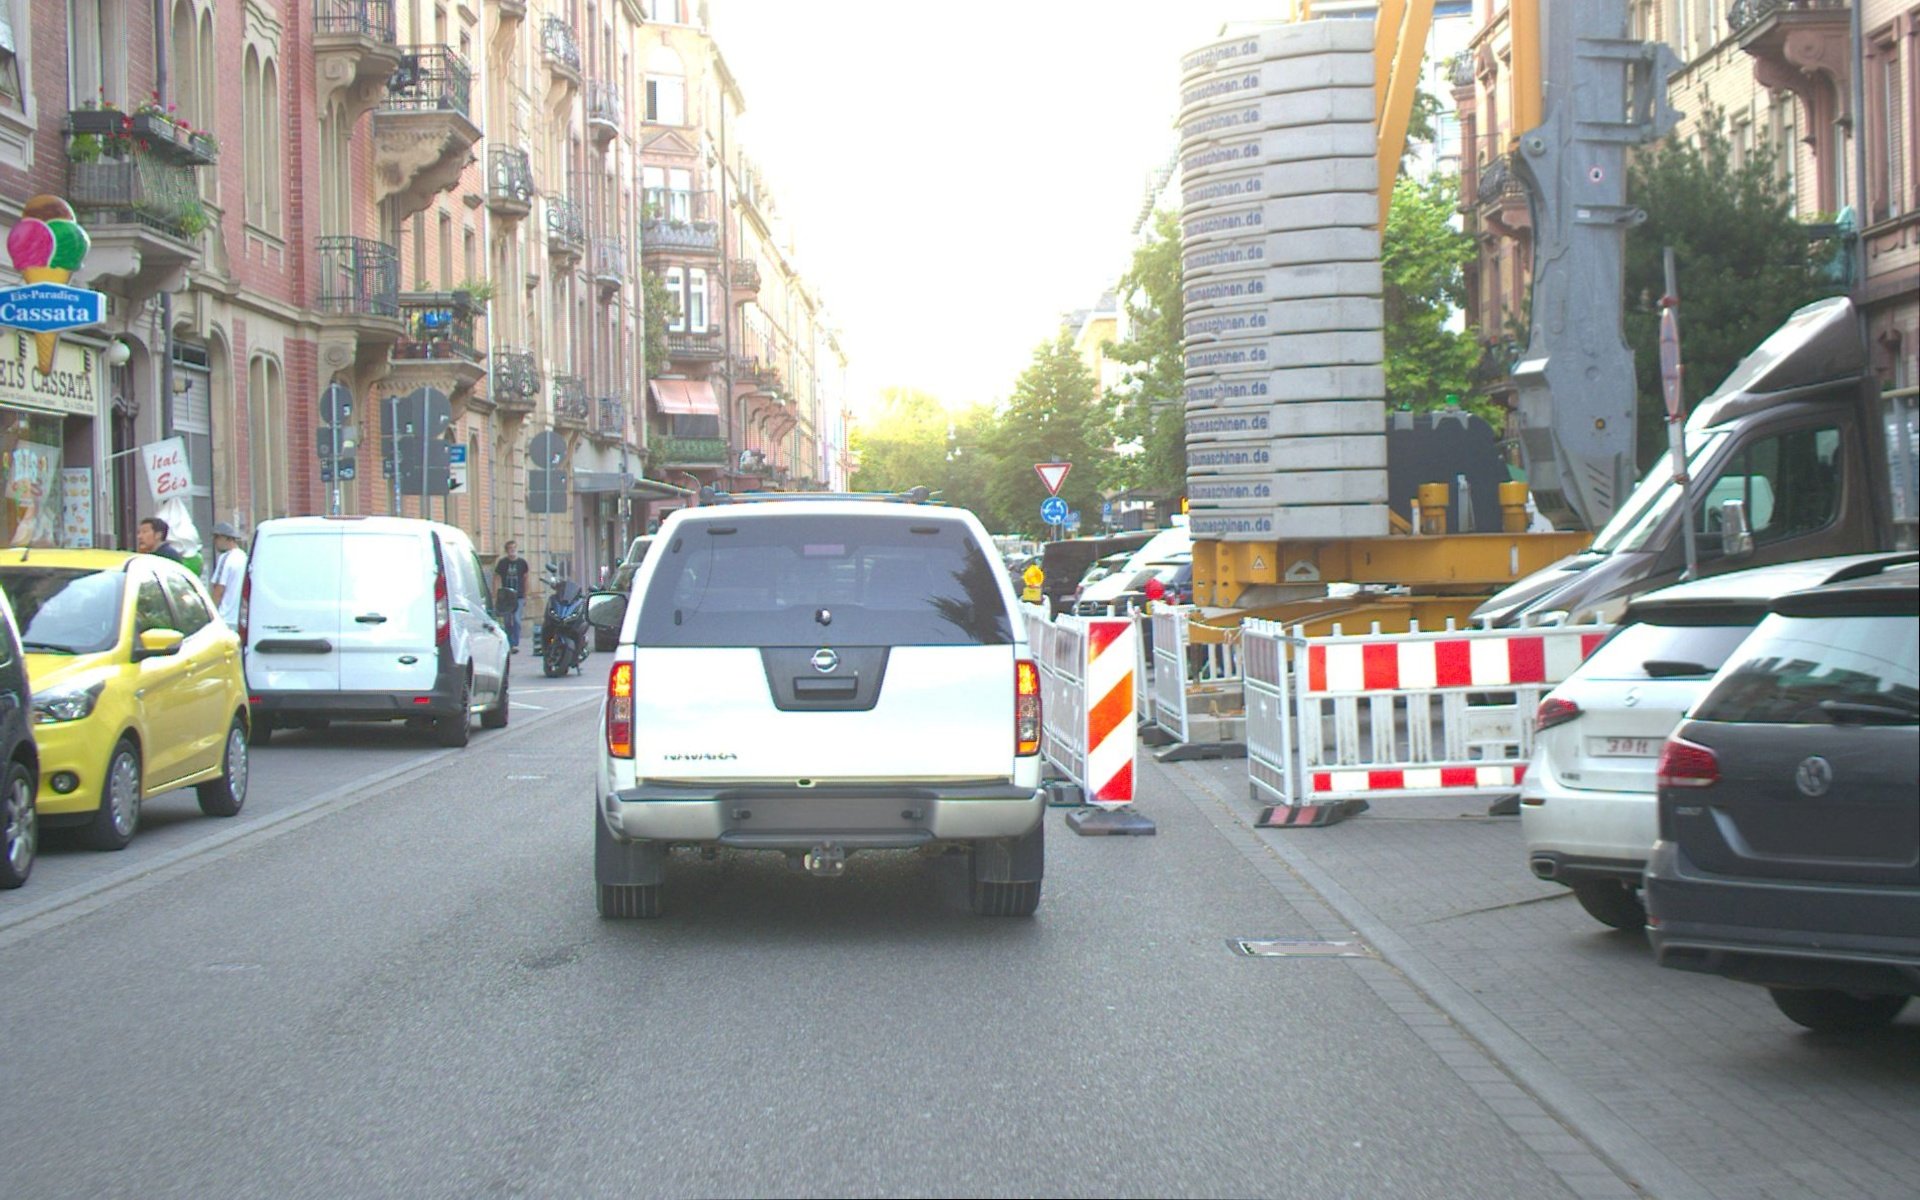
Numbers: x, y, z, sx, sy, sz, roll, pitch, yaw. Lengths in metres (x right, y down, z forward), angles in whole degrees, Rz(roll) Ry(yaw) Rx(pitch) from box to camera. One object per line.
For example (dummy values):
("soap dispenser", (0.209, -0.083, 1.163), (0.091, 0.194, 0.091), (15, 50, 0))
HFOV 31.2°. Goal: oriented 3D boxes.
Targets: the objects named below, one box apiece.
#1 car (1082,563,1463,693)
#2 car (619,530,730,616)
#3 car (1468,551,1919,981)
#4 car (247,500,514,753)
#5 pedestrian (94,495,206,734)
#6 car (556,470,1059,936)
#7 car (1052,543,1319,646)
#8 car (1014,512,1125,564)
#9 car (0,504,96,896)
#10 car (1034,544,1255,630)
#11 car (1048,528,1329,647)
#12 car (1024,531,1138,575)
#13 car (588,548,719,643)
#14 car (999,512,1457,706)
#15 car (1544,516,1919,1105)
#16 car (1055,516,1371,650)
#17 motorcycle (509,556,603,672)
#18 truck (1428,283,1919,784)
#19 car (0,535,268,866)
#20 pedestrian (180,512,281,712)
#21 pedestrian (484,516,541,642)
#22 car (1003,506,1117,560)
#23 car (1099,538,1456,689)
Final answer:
("car", (3.539, 0.299, 38.995), (4.196, 1.425, 1.819), (0, 1, 6))
("car", (-5.195, -0.508, 62.933), (1.710, 1.525, 4.000), (0, 1, 0))
("car", (3.872, 0.542, 13.319), (3.548, 1.459, 1.611), (-1, 1, -31))
("car", (-4.683, 0.174, 28.232), (1.559, 1.914, 3.856), (1, 1, -1))
("pedestrian", (-6.383, 0.109, 27.128), (0.738, 1.863, 0.618), (0, 1, -1))
("car", (-0.759, 0.367, 15.564), (1.933, 1.788, 4.623), (0, 1, -4))
("car", (3.603, -0.095, 55.182), (4.195, 1.616, 1.819), (0, 1, 3))
("car", (4.602, -2.594, 144.149), (4.588, 2.170, 1.819), (0, 1, 3))
("car", (-5.033, 0.449, 13.977), (1.905, 1.657, 4.068), (-1, 1, 1))
("car", (3.558, -0.263, 66.387), (4.195, 1.616, 1.819), (0, 1, 3))
("car", (3.464, -0.193, 52.473), (4.195, 1.774, 1.819), (0, 1, 3))
("car", (4.499, -1.735, 127.584), (4.195, 1.616, 1.819), (0, 1, 3))
("car", (-5.064, -0.106, 57.161), (1.791, 1.525, 4.000), (0, 1, 0))
("car", (2.540, 0.072, 32.503), (4.196, 1.774, 1.819), (0, 1, 6))
("car", (3.698, 0.518, 10.465), (3.882, 1.525, 1.637), (-1, 1, -39))
("car", (3.416, -0.233, 46.793), (4.195, 1.774, 1.819), (0, 1, 3))
("motorcycle", (-5.049, 0.154, 43.117), (0.837, 1.411, 2.549), (0, 1, 1))
("truck", (6.230, -0.366, 21.463), (6.320, 2.966, 2.264), (0, -2, 2))
("car", (-4.921, 0.467, 18.510), (1.499, 1.588, 3.856), (-1, 1, 1))
("pedestrian", (-6.876, 0.108, 32.414), (0.617, 1.863, 0.739), (0, 1, 23))
("pedestrian", (-7.173, -0.340, 55.182), (0.788, 2.007, 0.934), (0, 1, 0))
("car", (4.061, -2.703, 139.386), (4.588, 2.170, 1.819), (0, 1, 3))
("car", (3.824, 0.146, 41.487), (4.196, 1.774, 1.819), (0, 1, 6))
